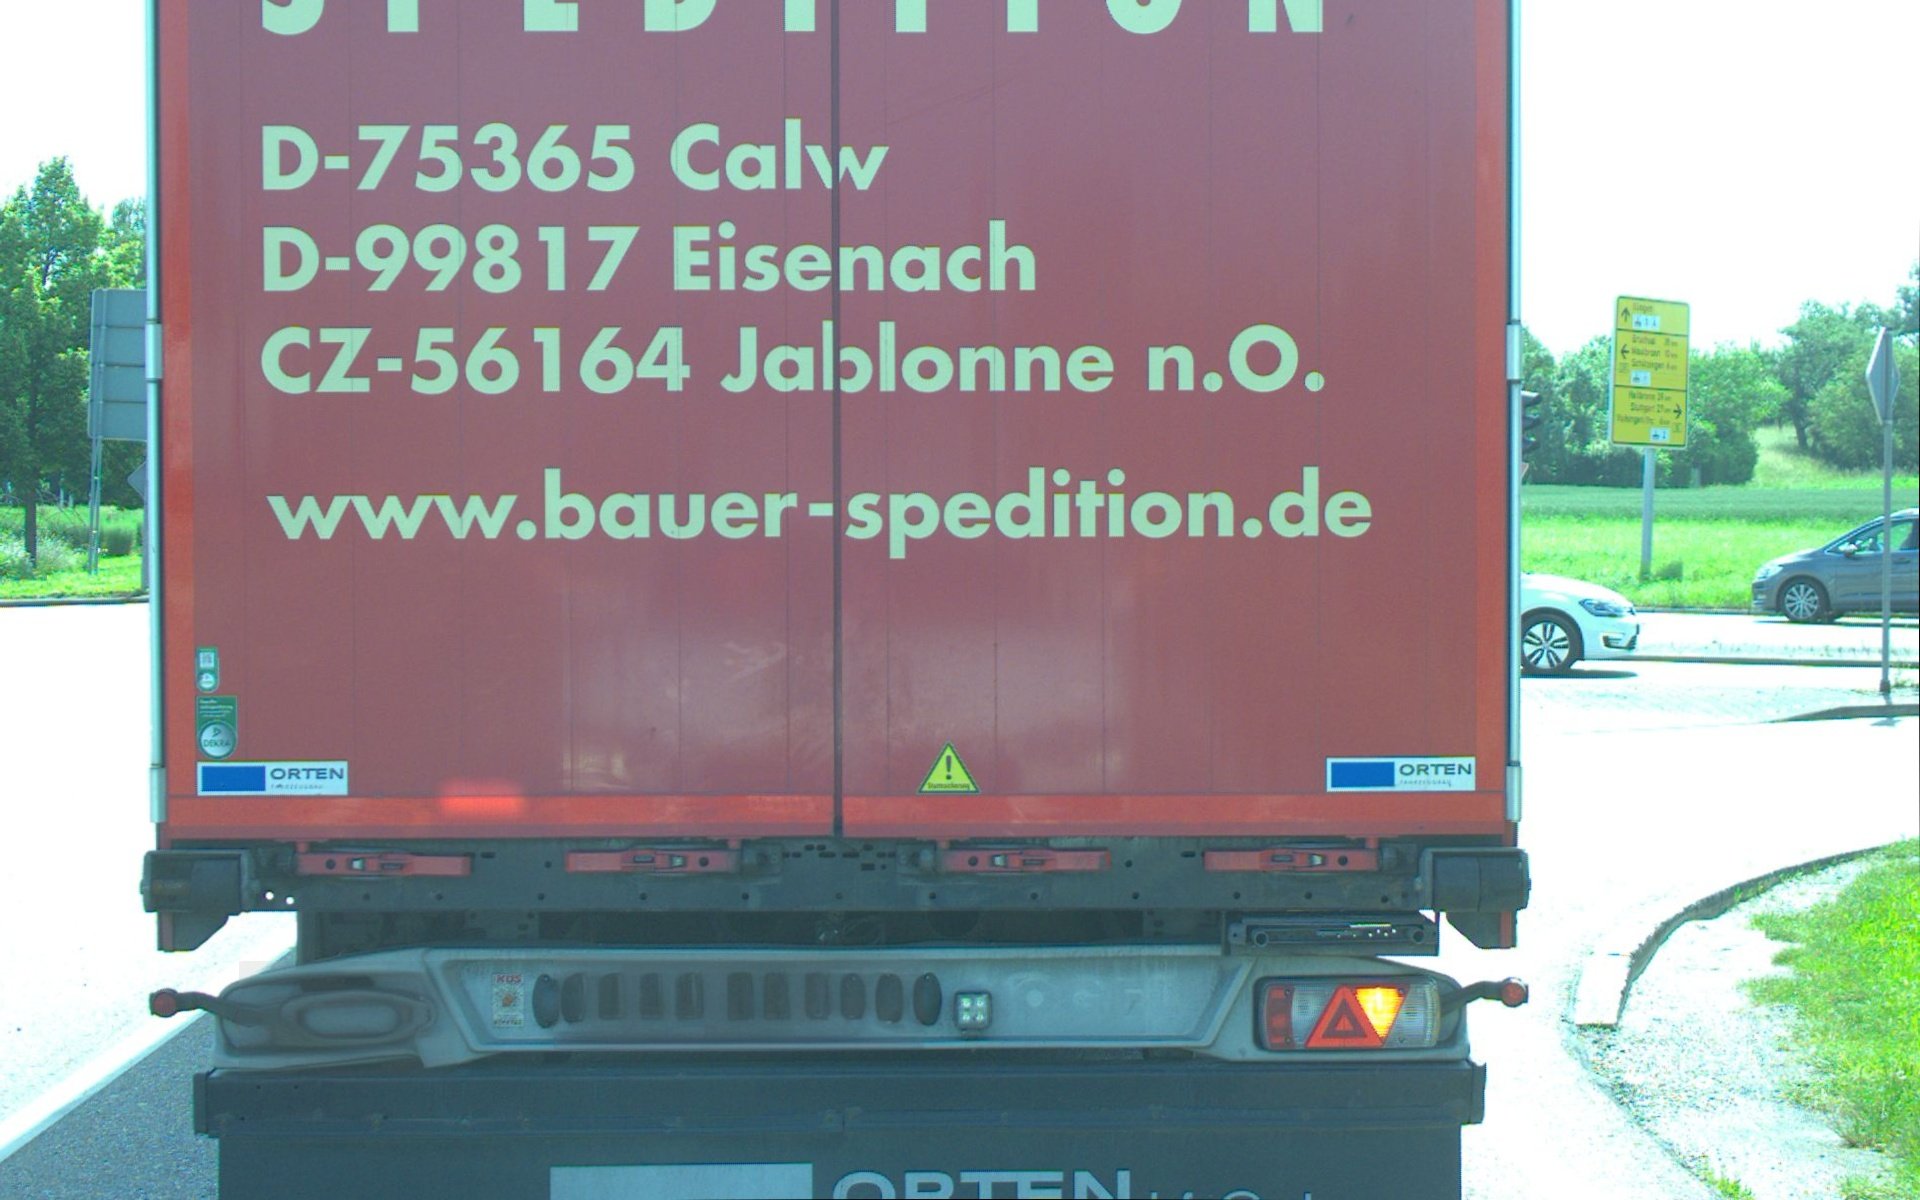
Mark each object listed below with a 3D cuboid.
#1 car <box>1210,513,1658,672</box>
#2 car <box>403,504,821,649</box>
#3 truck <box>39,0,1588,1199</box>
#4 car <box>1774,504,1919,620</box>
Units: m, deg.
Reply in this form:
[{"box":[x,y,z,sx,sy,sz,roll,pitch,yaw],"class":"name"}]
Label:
[{"box":[4.766,-0.107,34.395,4.249,1.456,1.809,1,2,14],"class":"car"},{"box":[-3.689,-0.282,36.582,4.038,1.412,1.794,1,2,16],"class":"car"},{"box":[-0.387,-0.802,14.406,2.734,3.911,16.627,0,1,-1],"class":"truck"},{"box":[13.672,-0.520,48.453,3.992,1.590,1.662,1,1,26],"class":"car"}]
